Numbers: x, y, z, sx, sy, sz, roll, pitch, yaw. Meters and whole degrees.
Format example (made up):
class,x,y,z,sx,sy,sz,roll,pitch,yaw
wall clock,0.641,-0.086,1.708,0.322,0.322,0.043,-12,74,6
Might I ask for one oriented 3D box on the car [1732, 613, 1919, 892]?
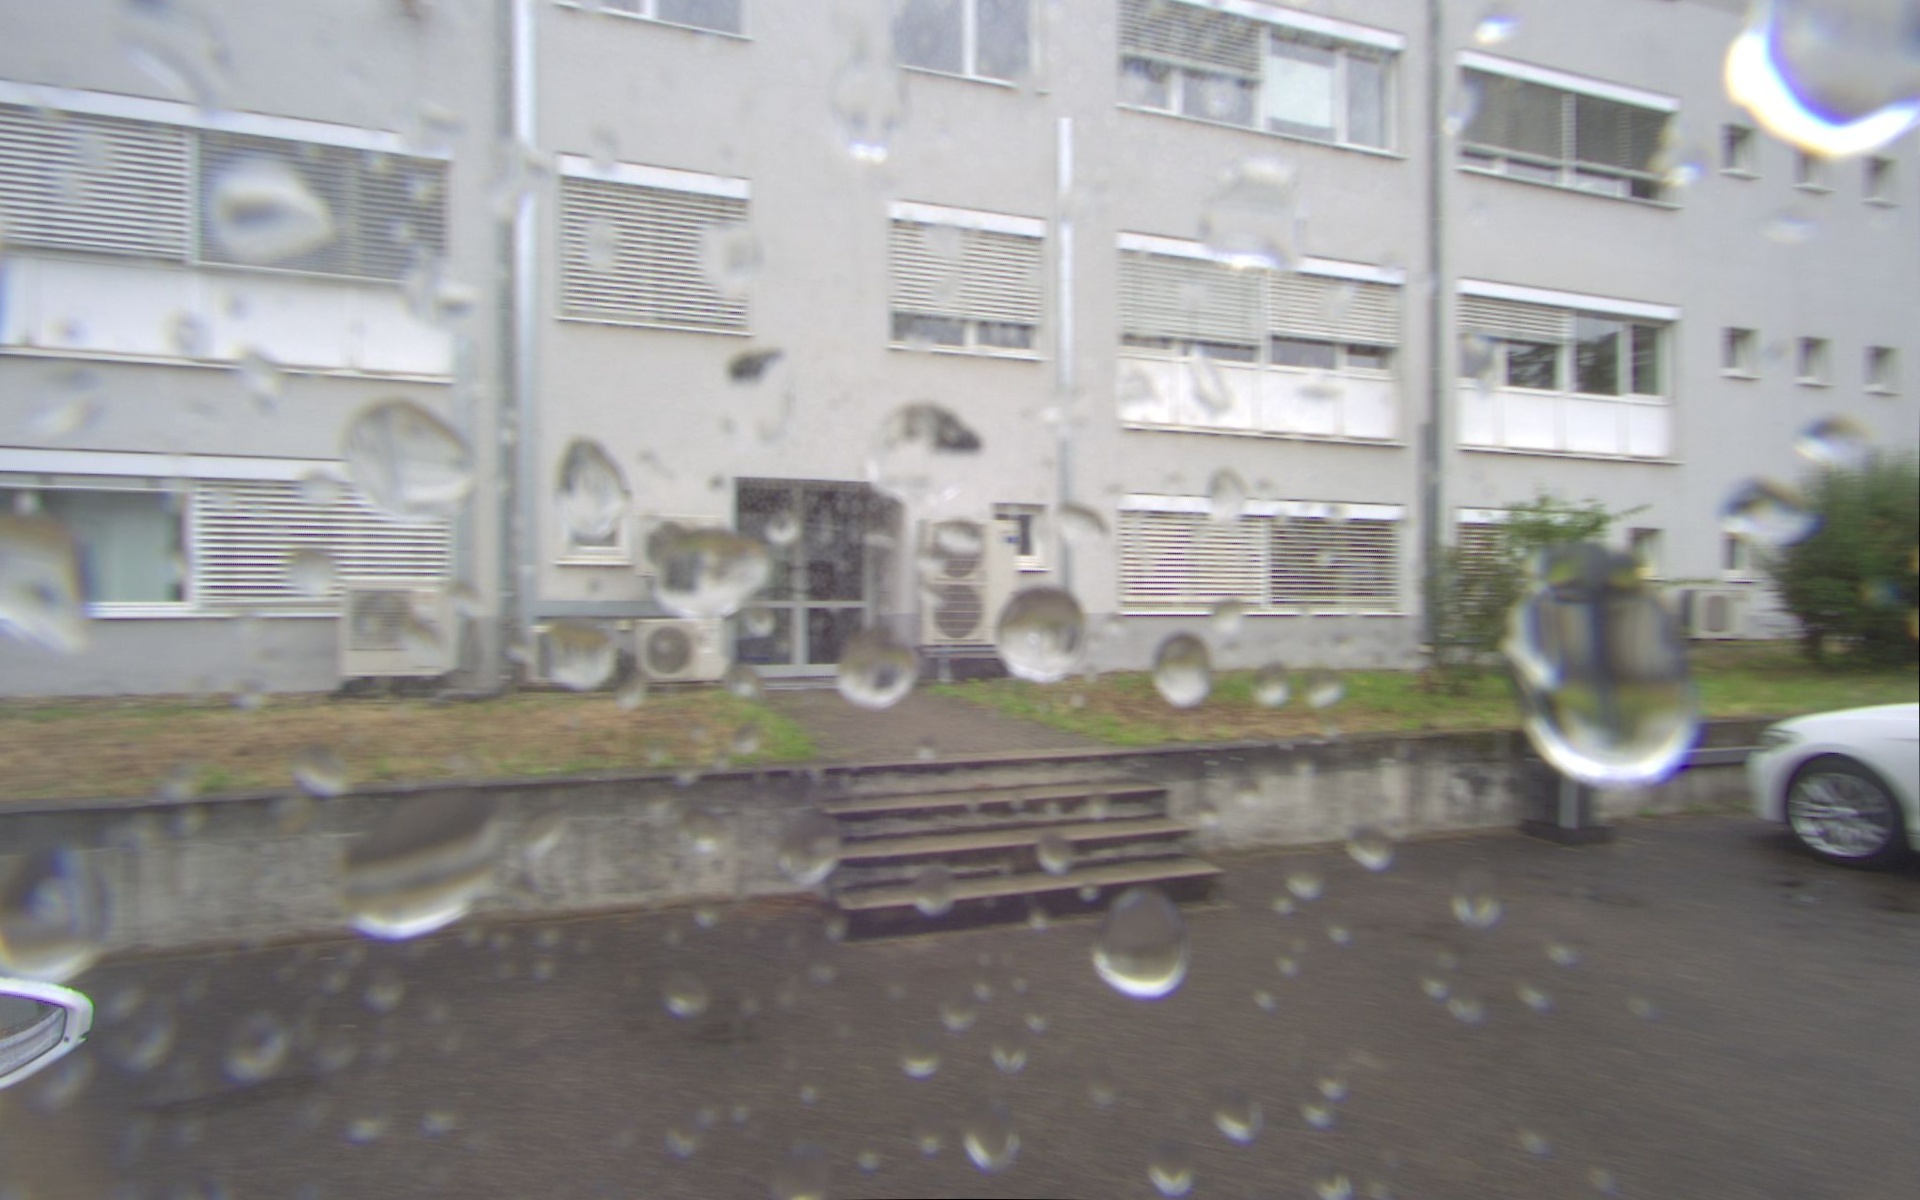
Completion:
class,x,y,z,sx,sy,sz,roll,pitch,yaw
car,6.435,0.817,4.633,1.964,1.508,4.215,1,-2,-16
